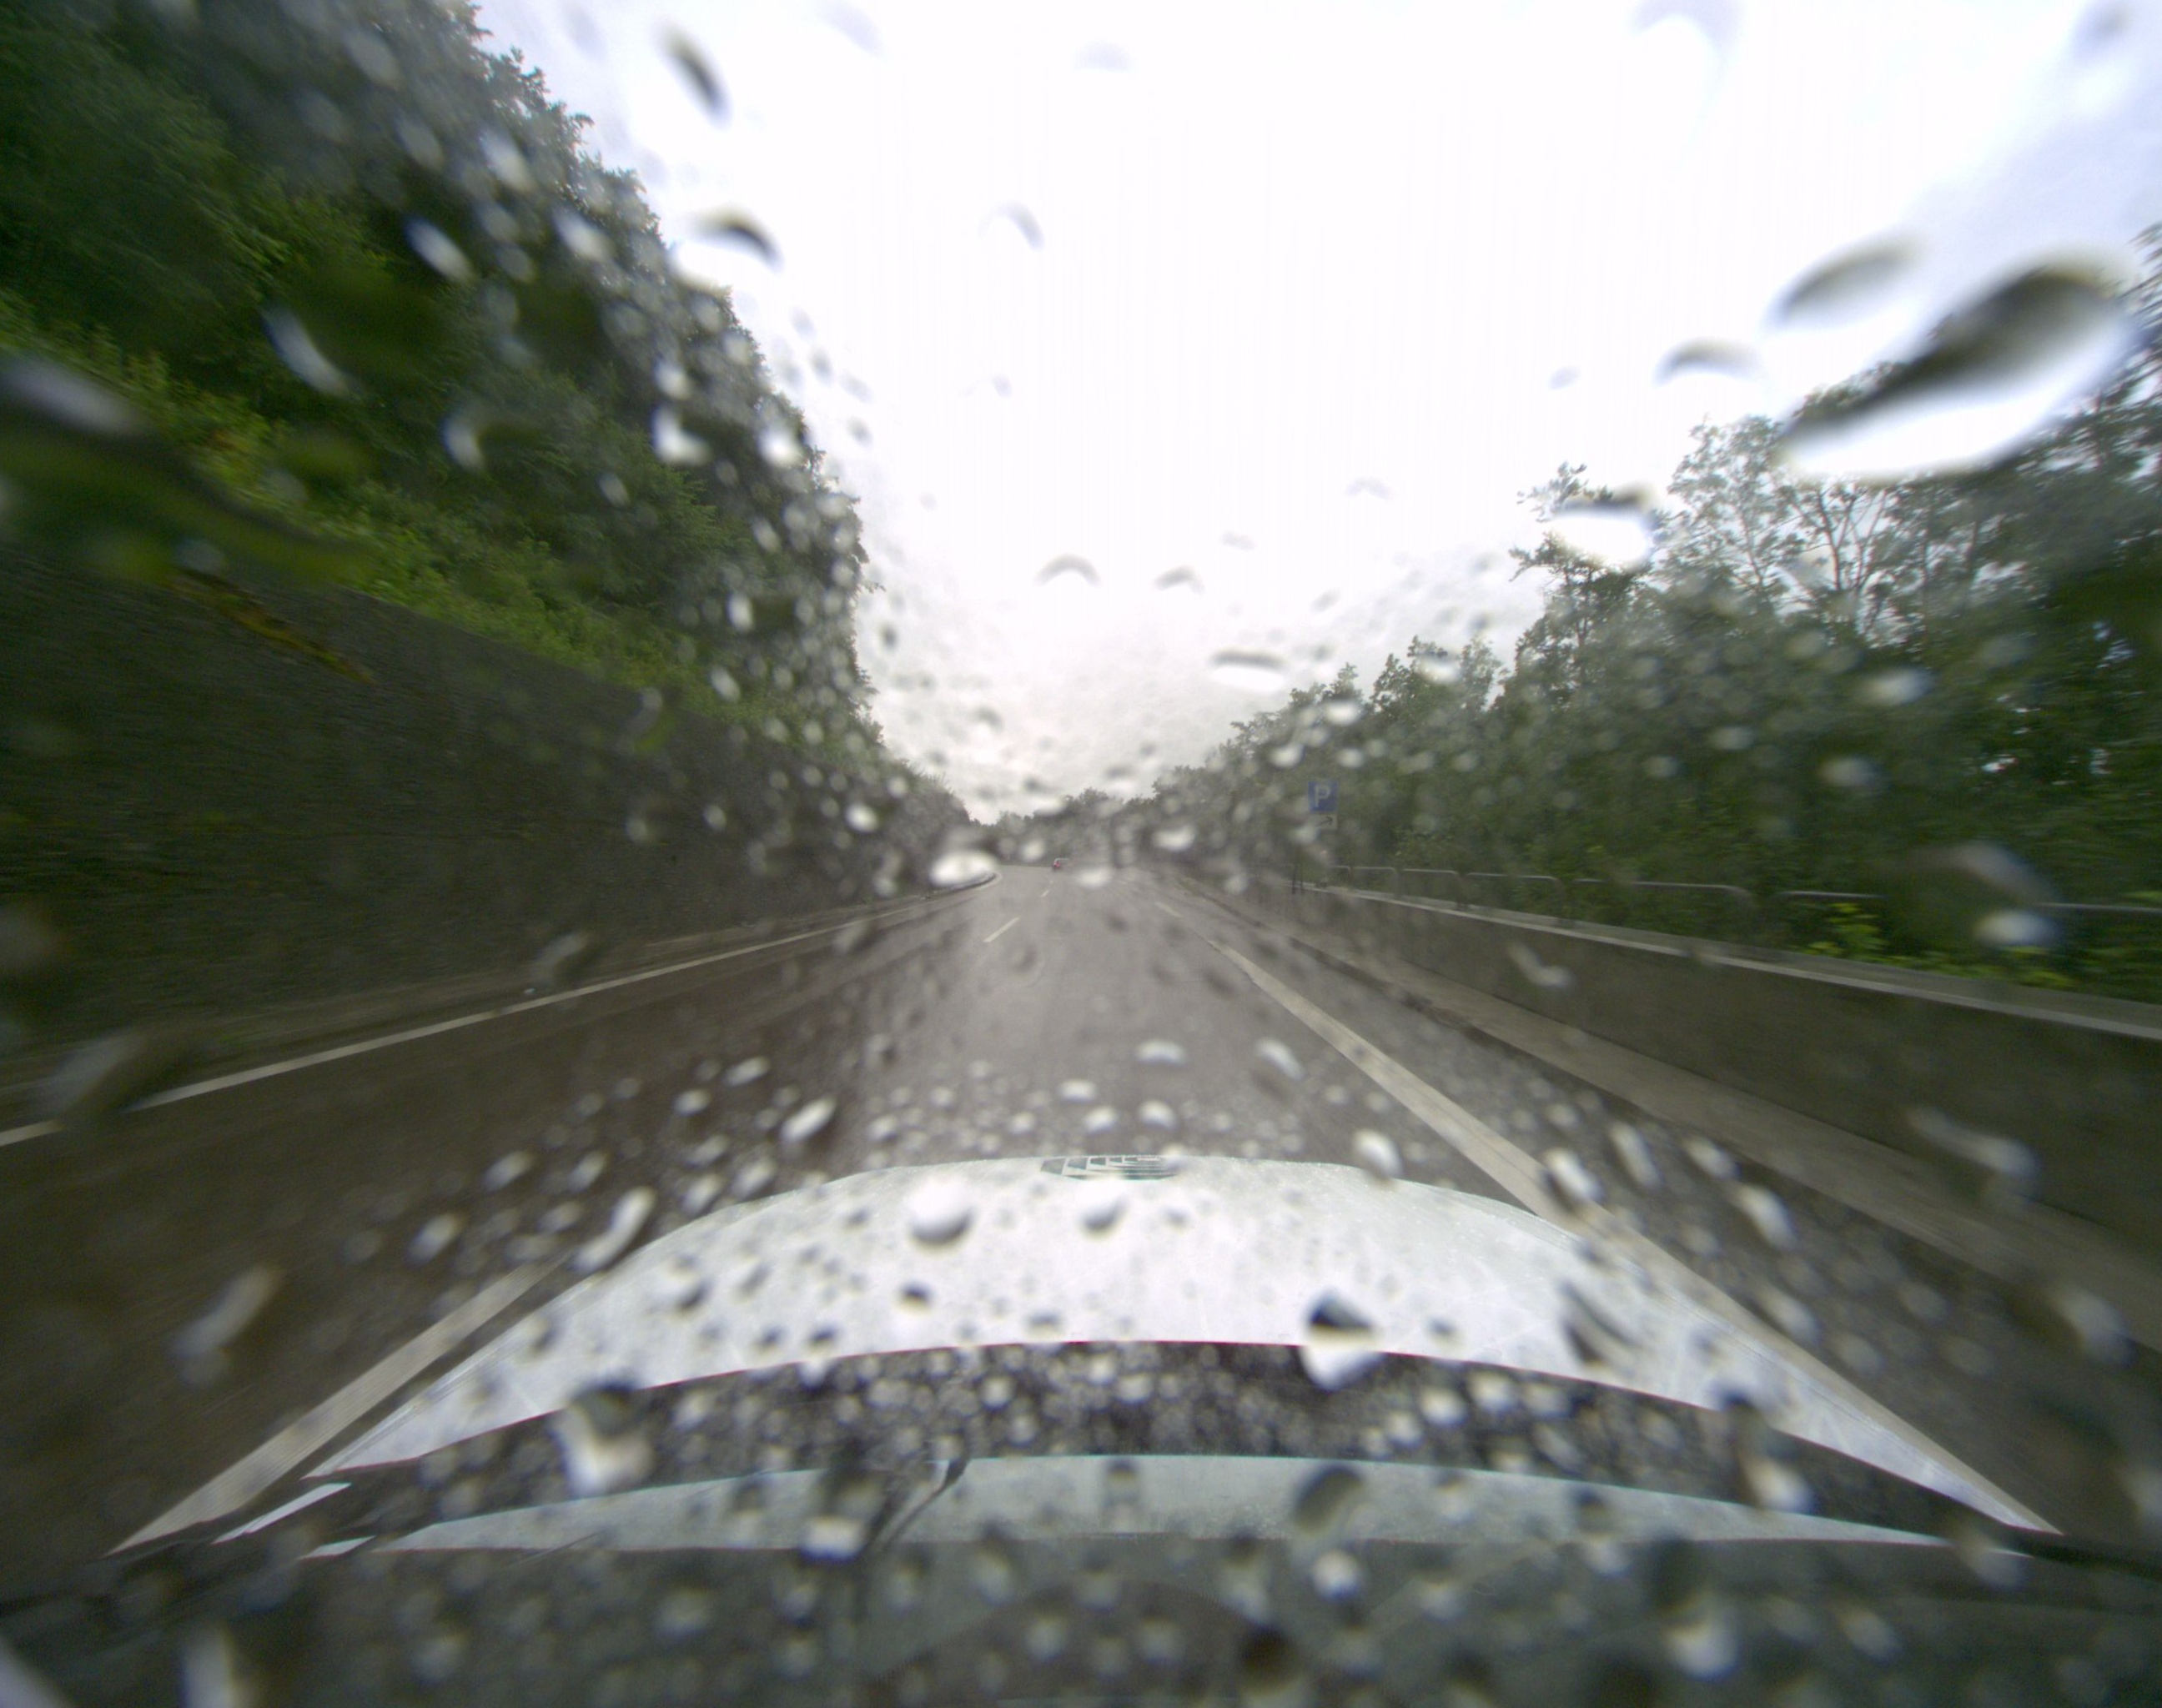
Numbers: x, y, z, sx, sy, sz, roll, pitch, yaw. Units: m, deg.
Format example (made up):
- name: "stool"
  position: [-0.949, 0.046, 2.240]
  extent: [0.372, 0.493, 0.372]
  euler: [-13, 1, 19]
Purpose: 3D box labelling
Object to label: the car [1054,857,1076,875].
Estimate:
- name: "car"
  position: [-1.487, 1.093, 75.026]
  extent: [1.899, 1.499, 3.997]
  euler: [1, -1, -2]
